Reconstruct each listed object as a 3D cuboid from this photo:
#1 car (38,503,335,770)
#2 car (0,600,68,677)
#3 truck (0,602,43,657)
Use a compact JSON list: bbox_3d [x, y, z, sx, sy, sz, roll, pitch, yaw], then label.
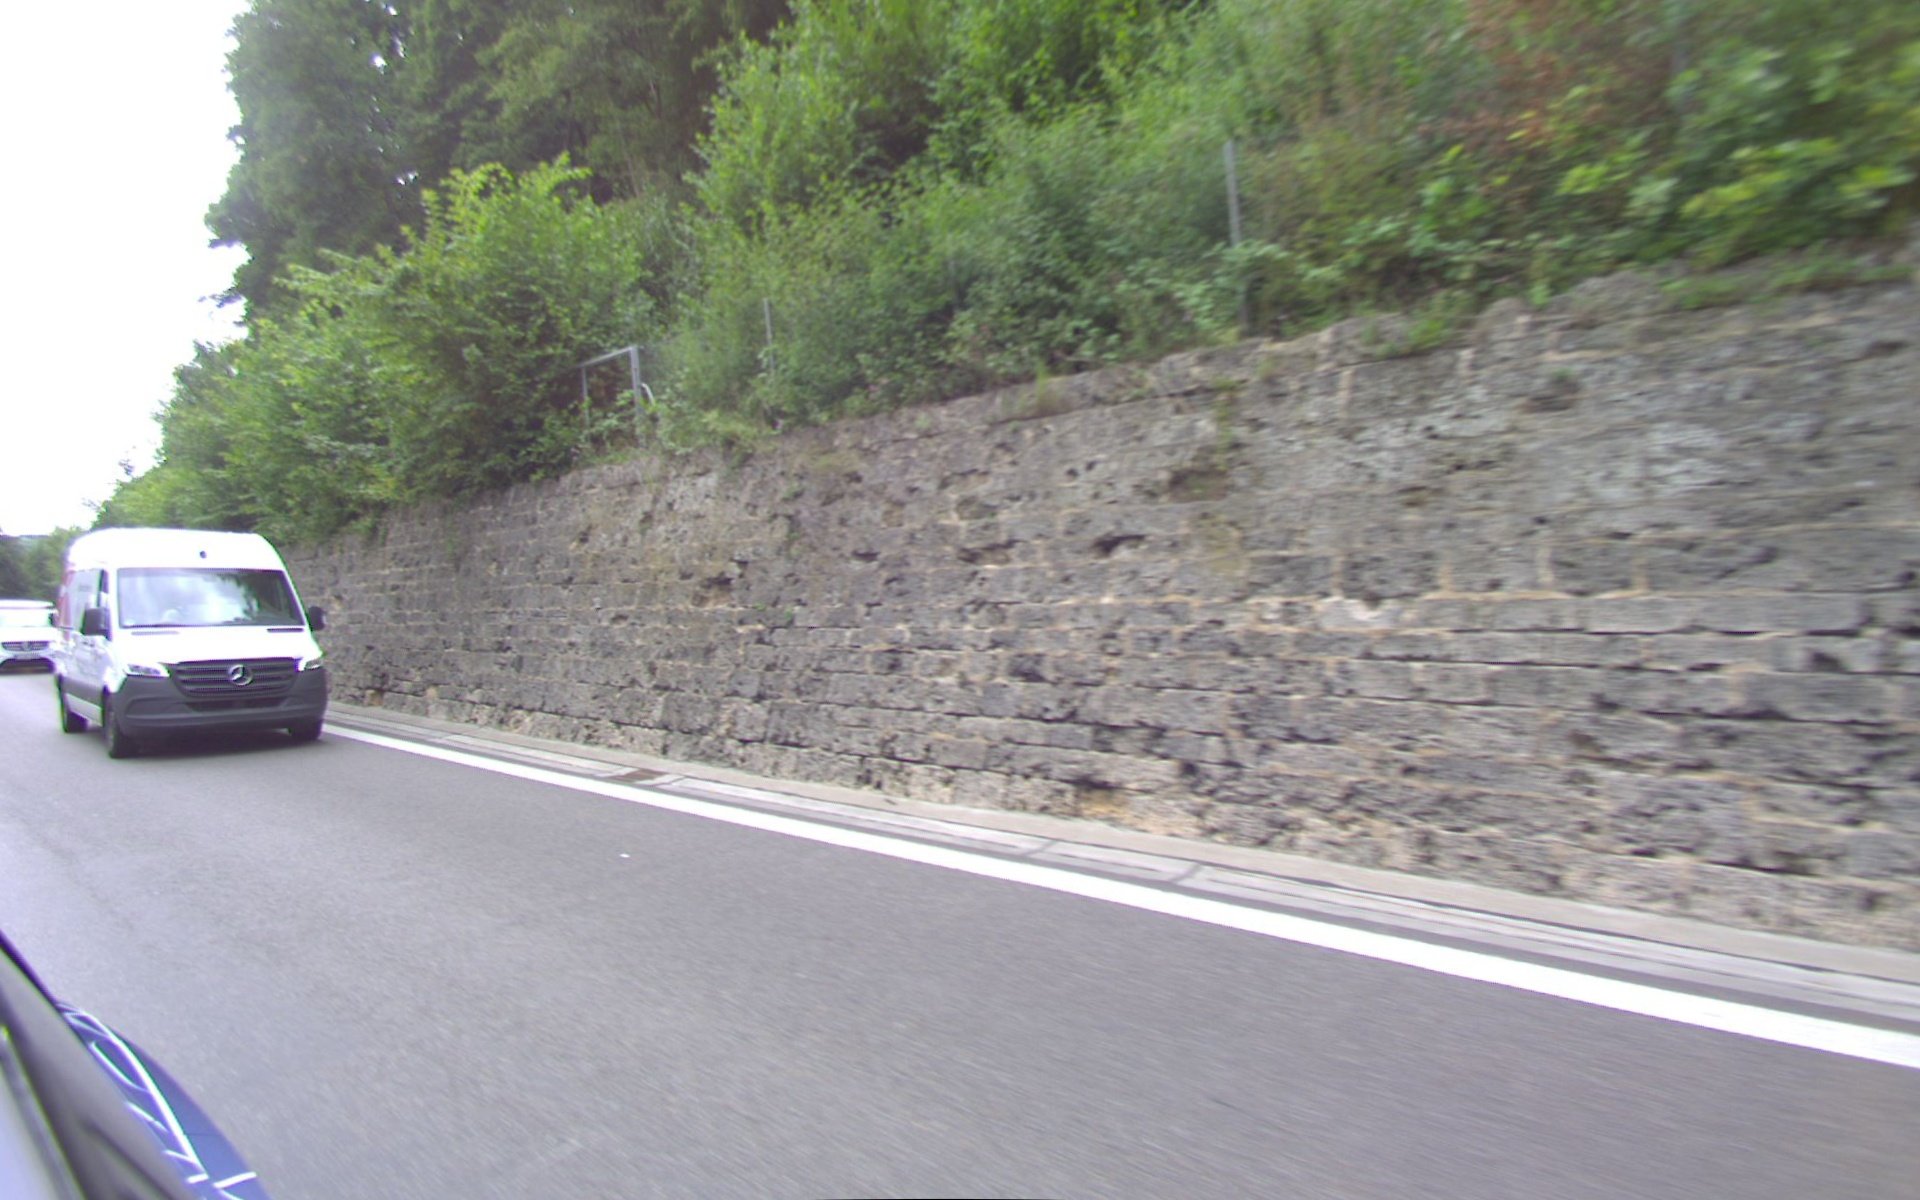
[{"bbox_3d":[-9.972,0.377,12.770,6.275,2.605,2.004,-1,0,43],"label":"car"},{"bbox_3d":[-27.054,1.059,28.827,6.149,1.967,1.971,-1,1,44],"label":"car"},{"bbox_3d":[-42.326,1.288,44.803,1.968,2.297,6.599,-2,1,-38],"label":"truck"}]
